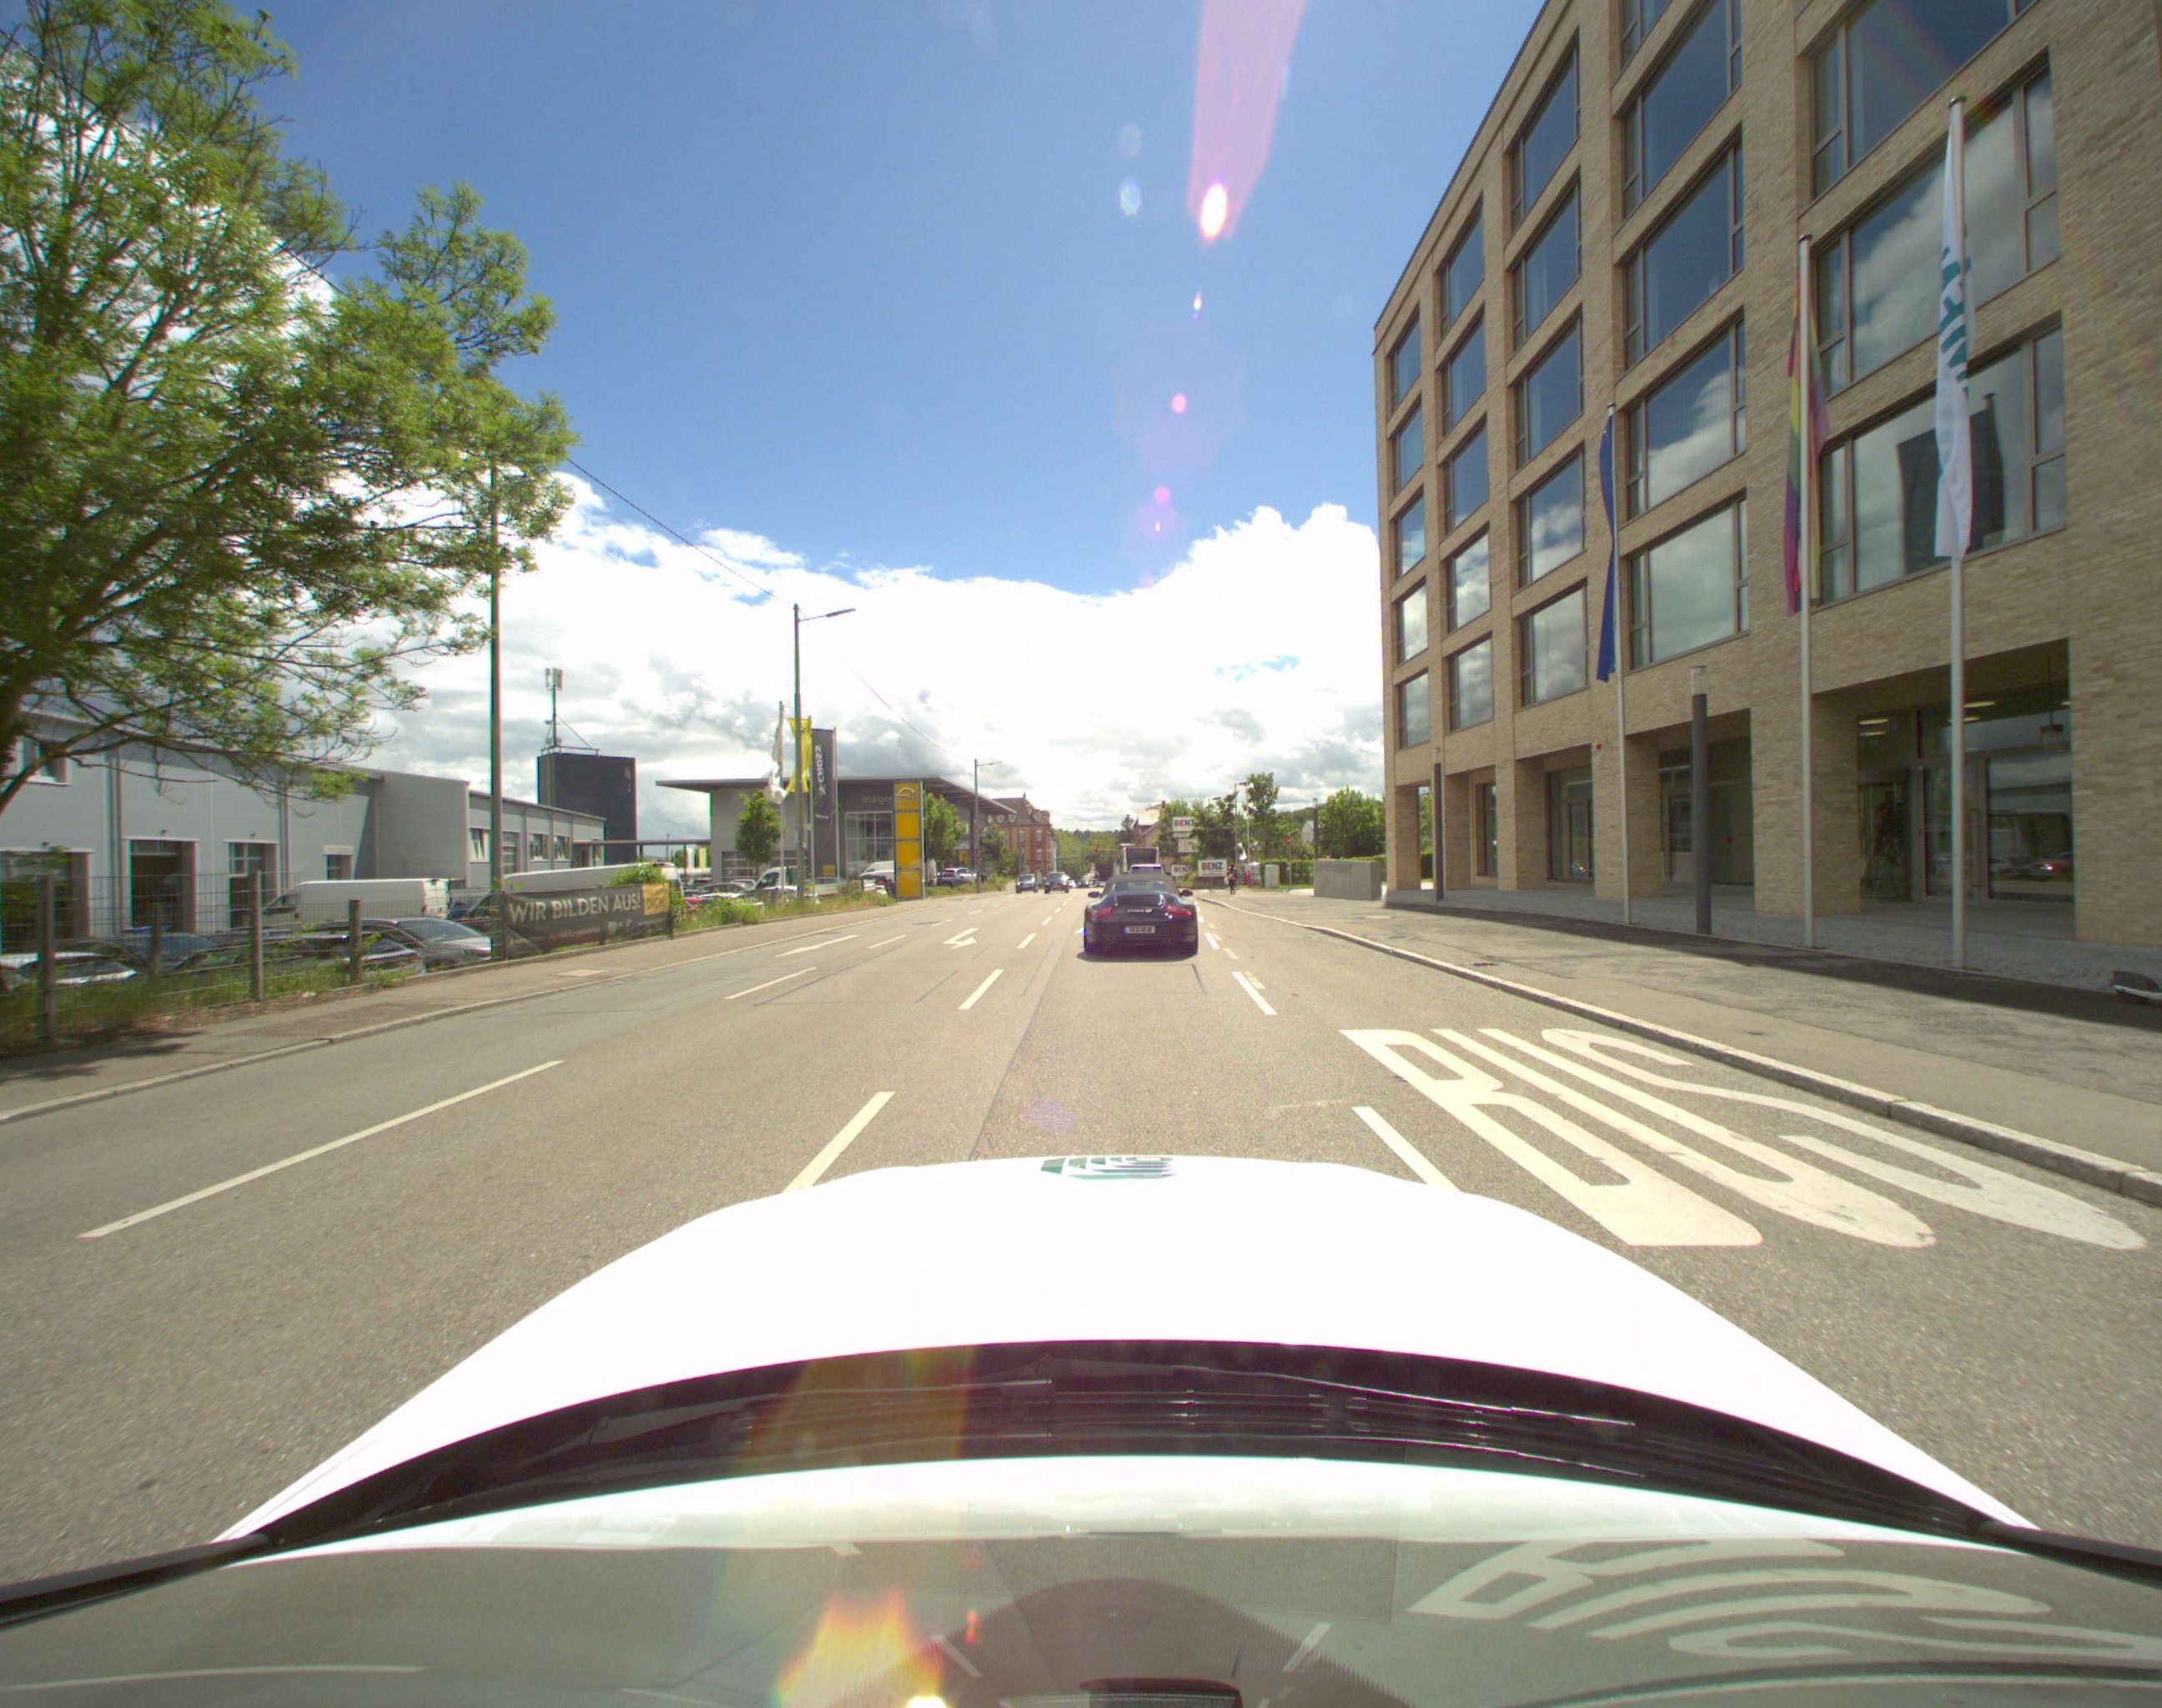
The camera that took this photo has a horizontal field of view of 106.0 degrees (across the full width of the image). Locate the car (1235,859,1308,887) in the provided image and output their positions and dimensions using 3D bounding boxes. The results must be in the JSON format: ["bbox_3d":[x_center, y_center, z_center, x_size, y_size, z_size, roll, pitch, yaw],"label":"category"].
[{"bbox_3d":[13.873,1.397,59.354,4.702,1.848,2.084,-3,-2,-6],"label":"car"}]

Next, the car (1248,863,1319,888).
[{"bbox_3d":[14.013,1.479,56.519,4.417,1.482,2.000,-3,-2,0],"label":"car"}]

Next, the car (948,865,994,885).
[{"bbox_3d":[-10.236,1.909,76.200,1.975,1.698,4.512,-1,0,27],"label":"car"}]

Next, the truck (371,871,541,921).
[{"bbox_3d":[-31.656,2.084,41.535,6.313,2.229,2.684,-1,-2,-19],"label":"truck"}]

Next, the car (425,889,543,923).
[{"bbox_3d":[-28.946,2.512,39.674,4.244,1.497,1.914,0,-2,-22],"label":"car"}]

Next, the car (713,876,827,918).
[{"bbox_3d":[-12.718,1.739,33.470,3.871,1.609,1.929,-1,-2,1],"label":"car"}]

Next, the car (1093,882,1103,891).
[{"bbox_3d":[3.160,6.041,152.274,1.857,1.666,4.259,-1,-2,1],"label":"car"}]

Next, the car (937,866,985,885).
[{"bbox_3d":[-10.431,1.856,71.001,1.913,1.573,4.579,-2,-2,25],"label":"car"}]

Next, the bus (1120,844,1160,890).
[{"bbox_3d":[4.527,0.906,63.748,2.790,3.198,12.206,-1,0,3],"label":"bus"}]

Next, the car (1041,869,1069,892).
[{"bbox_3d":[-1.797,1.892,57.794,1.823,1.509,4.275,-2,-2,0],"label":"car"}]

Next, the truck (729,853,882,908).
[{"bbox_3d":[-12.091,1.181,36.087,5.845,2.148,2.475,-2,-2,-2],"label":"truck"}]

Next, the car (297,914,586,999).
[{"bbox_3d":[-12.084,1.917,15.595,4.016,1.386,1.929,-1,-2,2],"label":"car"}]

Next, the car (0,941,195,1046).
[{"bbox_3d":[-17.087,2.188,12.963,4.017,1.386,1.826,-1,-2,2],"label":"car"}]

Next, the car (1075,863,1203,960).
[{"bbox_3d":[0.991,0.902,14.534,1.923,1.376,4.211,-1,0,3],"label":"car"}]

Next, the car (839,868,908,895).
[{"bbox_3d":[-13.879,1.841,54.632,3.966,1.706,2.004,-1,0,6],"label":"car"}]

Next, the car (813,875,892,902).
[{"bbox_3d":[-13.294,2.010,47.509,3.974,1.409,2.000,-1,0,0],"label":"car"}]

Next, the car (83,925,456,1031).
[{"bbox_3d":[-12.698,1.913,12.959,4.017,1.386,1.929,-1,-2,2],"label":"car"}]

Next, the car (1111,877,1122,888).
[{"bbox_3d":[6.947,5.559,159.891,1.826,1.882,3.999,-2,-1,0],"label":"car"}]

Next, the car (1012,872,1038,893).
[{"bbox_3d":[-4.682,2.355,68.583,1.738,1.595,4.042,-4,-1,0],"label":"car"}]

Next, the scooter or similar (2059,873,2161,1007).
[{"bbox_3d":[9.726,0.766,7.213,0.425,1.153,1.404,-2,-1,1],"label":"scooter or similar"}]

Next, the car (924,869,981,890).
[{"bbox_3d":[-10.356,2.029,65.886,1.877,1.450,4.862,-1,0,29],"label":"car"}]

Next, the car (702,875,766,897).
[{"bbox_3d":[-24.311,2.258,57.215,3.688,1.398,1.845,-1,0,-4],"label":"car"}]

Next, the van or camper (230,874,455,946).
[{"bbox_3d":[-28.490,2.092,31.728,5.897,2.355,2.488,-1,0,-17],"label":"van or camper"}]

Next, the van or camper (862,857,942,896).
[{"bbox_3d":[-12.534,1.546,57.199,5.009,2.531,2.318,-1,0,1],"label":"van or camper"}]

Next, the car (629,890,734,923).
[{"bbox_3d":[-17.662,2.296,36.135,3.809,1.328,1.646,-1,-2,1],"label":"car"}]

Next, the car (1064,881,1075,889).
[{"bbox_3d":[-2.083,5.703,150.406,1.858,1.541,4.106,-1,-2,0],"label":"car"}]

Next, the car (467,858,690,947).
[{"bbox_3d":[-12.462,1.155,20.437,4.148,2.013,2.198,-1,0,-1],"label":"car"}]

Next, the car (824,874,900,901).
[{"bbox_3d":[-13.363,2.063,49.851,3.969,1.491,2.002,-1,0,4],"label":"car"}]

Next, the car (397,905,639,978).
[{"bbox_3d":[-12.416,1.909,18.174,4.020,1.386,1.928,-1,-2,-1],"label":"car"}]

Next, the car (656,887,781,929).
[{"bbox_3d":[-12.565,1.867,28.341,3.529,1.325,1.713,-1,-2,5],"label":"car"}]

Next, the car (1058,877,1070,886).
[{"bbox_3d":[-2.862,4.549,135.012,1.866,1.491,3.846,-4,-2,-1],"label":"car"}]

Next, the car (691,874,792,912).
[{"bbox_3d":[-16.573,1.895,39.904,4.065,1.522,1.826,-4,0,0],"label":"car"}]

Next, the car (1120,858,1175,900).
[{"bbox_3d":[2.744,1.001,34.330,1.924,1.583,4.207,-1,0,0],"label":"car"}]

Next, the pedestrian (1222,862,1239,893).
[{"bbox_3d":[7.462,1.168,40.601,0.685,1.536,0.856,-2,-1,1],"label":"pedestrian"}]

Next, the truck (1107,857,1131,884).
[{"bbox_3d":[4.610,2.125,101.375,2.657,3.108,9.035,-2,-2,1],"label":"truck"}]

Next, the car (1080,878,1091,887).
[{"bbox_3d":[0.750,5.035,142.550,1.857,1.541,4.106,-1,-2,1],"label":"car"}]
